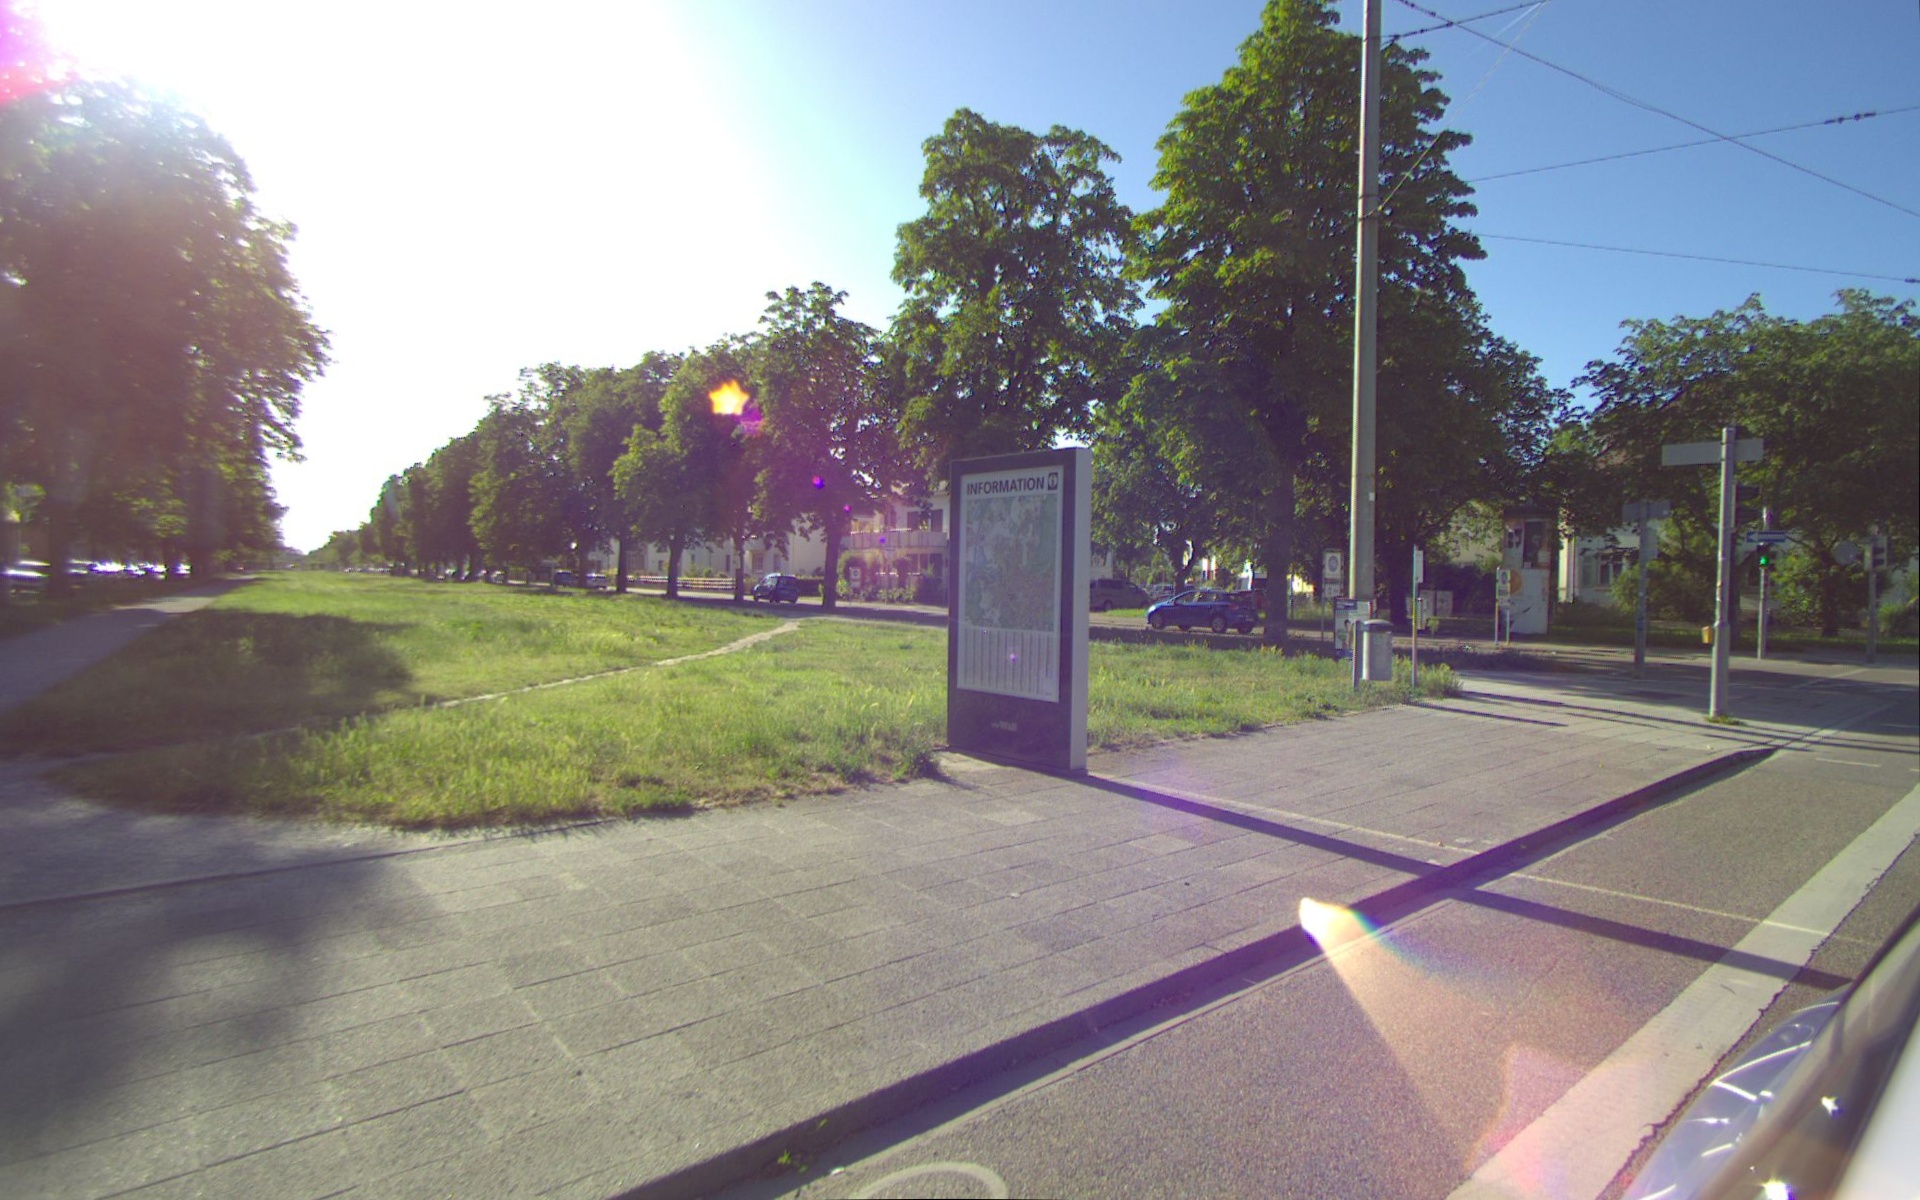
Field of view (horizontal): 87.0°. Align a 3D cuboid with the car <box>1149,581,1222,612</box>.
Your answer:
[{"bbox_3d":[12.825,-0.207,57.519,3.637,1.668,1.926,1,1,-28],"label":"car"}]

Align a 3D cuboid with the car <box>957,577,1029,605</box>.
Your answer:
[{"bbox_3d":[1.874,-0.499,57.806,3.822,1.489,1.759,1,1,-36],"label":"car"}]

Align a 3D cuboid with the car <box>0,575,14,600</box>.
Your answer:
[{"bbox_3d":[-64.982,-0.850,67.706,1.701,1.624,3.707,1,-1,-32],"label":"car"}]

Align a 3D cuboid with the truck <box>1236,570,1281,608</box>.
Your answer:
[{"bbox_3d":[21.617,-0.822,73.474,1.964,2.608,4.977,1,1,3],"label":"truck"}]

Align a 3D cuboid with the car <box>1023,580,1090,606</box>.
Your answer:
[{"bbox_3d":[5.817,-0.418,60.830,3.822,1.489,1.759,1,1,-36],"label":"car"}]

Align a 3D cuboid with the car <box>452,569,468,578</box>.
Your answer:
[{"bbox_3d":[-81.375,-4.366,164.770,1.791,1.451,4.001,0,1,-35],"label":"car"}]

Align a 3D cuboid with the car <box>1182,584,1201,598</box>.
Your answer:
[{"bbox_3d":[25.995,-1.063,113.864,1.730,1.489,3.887,2,1,9],"label":"car"}]

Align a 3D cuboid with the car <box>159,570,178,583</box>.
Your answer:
[{"bbox_3d":[-95.092,-2.815,121.659,1.619,1.538,3.404,1,-1,-35],"label":"car"}]

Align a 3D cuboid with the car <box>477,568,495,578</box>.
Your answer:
[{"bbox_3d":[-71.926,-4.120,153.481,1.791,1.451,4.001,0,1,-35],"label":"car"}]

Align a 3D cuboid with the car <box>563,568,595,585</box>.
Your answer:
[{"bbox_3d":[-34.262,-2.118,90.893,1.791,1.451,4.001,0,1,-35],"label":"car"}]

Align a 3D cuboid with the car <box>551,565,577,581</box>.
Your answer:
[{"bbox_3d":[-44.250,-3.049,113.168,1.790,1.624,4.001,2,1,-35],"label":"car"}]

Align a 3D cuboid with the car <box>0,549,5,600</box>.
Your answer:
[{"bbox_3d":[-35.990,-0.971,36.211,1.890,1.906,3.708,1,-1,-31],"label":"car"}]

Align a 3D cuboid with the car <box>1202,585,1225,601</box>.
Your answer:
[{"bbox_3d":[23.864,-0.666,95.434,1.730,1.489,3.887,2,1,9],"label":"car"}]

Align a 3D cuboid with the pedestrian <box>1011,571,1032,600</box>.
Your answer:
[{"bbox_3d":[3.858,-0.893,63.225,0.882,1.792,1.026,1,-1,-30],"label":"pedestrian"}]

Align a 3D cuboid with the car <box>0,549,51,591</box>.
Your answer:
[{"bbox_3d":[-45.831,-1.420,49.259,1.891,1.906,3.705,1,-1,-35],"label":"car"}]

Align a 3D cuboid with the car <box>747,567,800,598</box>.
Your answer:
[{"bbox_3d":[-11.868,-1.110,64.244,1.782,1.848,4.000,-2,1,-35],"label":"car"}]

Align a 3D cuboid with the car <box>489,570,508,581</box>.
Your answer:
[{"bbox_3d":[-65.371,-3.422,143.273,1.791,1.451,4.001,0,1,-35],"label":"car"}]

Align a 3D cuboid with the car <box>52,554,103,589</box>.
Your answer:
[{"bbox_3d":[-57.066,-1.815,65.505,1.891,2.057,4.662,1,-1,-34],"label":"car"}]

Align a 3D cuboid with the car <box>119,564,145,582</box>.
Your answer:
[{"bbox_3d":[-77.788,-2.519,95.152,1.619,1.538,3.404,1,-1,-35],"label":"car"}]

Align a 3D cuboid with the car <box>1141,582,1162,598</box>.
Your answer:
[{"bbox_3d":[18.619,-0.975,98.416,1.730,1.489,3.888,2,1,8],"label":"car"}]

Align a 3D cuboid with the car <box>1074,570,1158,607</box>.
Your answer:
[{"bbox_3d":[8.388,-0.604,54.452,4.257,1.858,1.924,1,1,-33],"label":"car"}]

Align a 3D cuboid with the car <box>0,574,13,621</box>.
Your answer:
[{"bbox_3d":[-39.800,-0.120,40.700,1.891,1.906,4.066,1,-1,-35],"label":"car"}]

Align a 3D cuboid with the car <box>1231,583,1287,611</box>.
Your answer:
[{"bbox_3d":[18.134,-0.144,61.300,1.601,1.554,4.218,2,0,41],"label":"car"}]

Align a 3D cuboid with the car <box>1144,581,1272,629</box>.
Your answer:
[{"bbox_3d":[8.433,0.118,34.625,1.784,1.451,3.997,-1,3,-39],"label":"car"}]

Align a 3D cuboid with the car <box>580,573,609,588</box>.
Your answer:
[{"bbox_3d":[-36.527,-1.939,101.163,1.791,1.451,4.001,0,1,-35],"label":"car"}]

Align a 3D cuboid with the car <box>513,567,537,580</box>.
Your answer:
[{"bbox_3d":[-50.892,-3.079,118.444,1.791,1.451,4.001,0,1,-35],"label":"car"}]
